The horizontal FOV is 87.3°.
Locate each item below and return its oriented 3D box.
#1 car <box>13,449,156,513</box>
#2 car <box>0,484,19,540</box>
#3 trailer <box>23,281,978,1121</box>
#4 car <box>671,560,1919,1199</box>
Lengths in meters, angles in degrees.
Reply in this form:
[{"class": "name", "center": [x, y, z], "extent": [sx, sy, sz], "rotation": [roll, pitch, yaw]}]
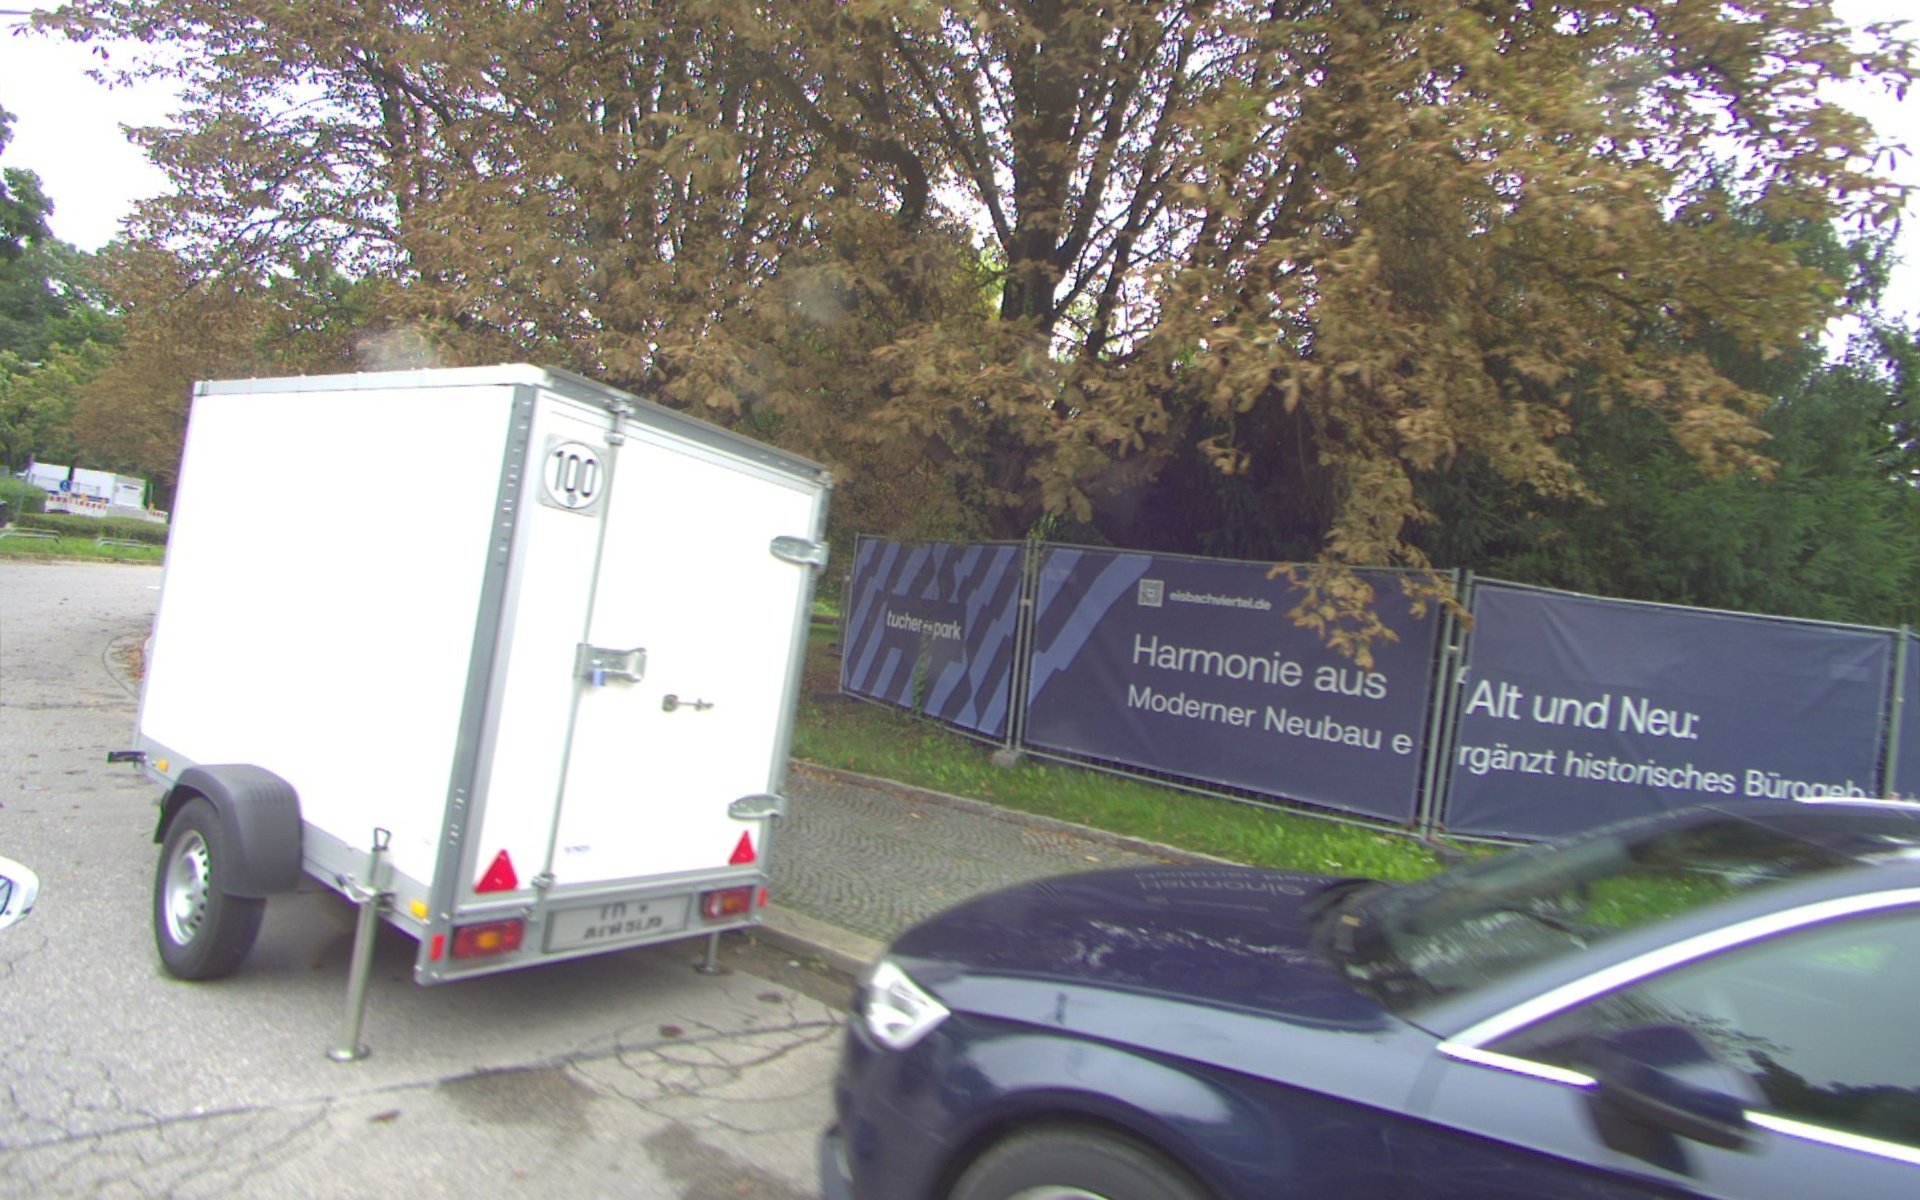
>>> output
[{"class": "car", "center": [-68.364, -9.295, 78.660], "extent": [8.555, 3.490, 3.096], "rotation": [8, -1, 5]}, {"class": "car", "center": [-29.423, -2.823, 28.286], "extent": [1.858, 1.624, 4.397], "rotation": [7, -3, -5]}, {"class": "trailer", "center": [-2.457, 0.128, 4.608], "extent": [4.761, 2.038, 1.809], "rotation": [6, -1, 38]}, {"class": "car", "center": [1.756, 0.939, 1.992], "extent": [4.252, 1.455, 1.876], "rotation": [7, 0, 27]}]
